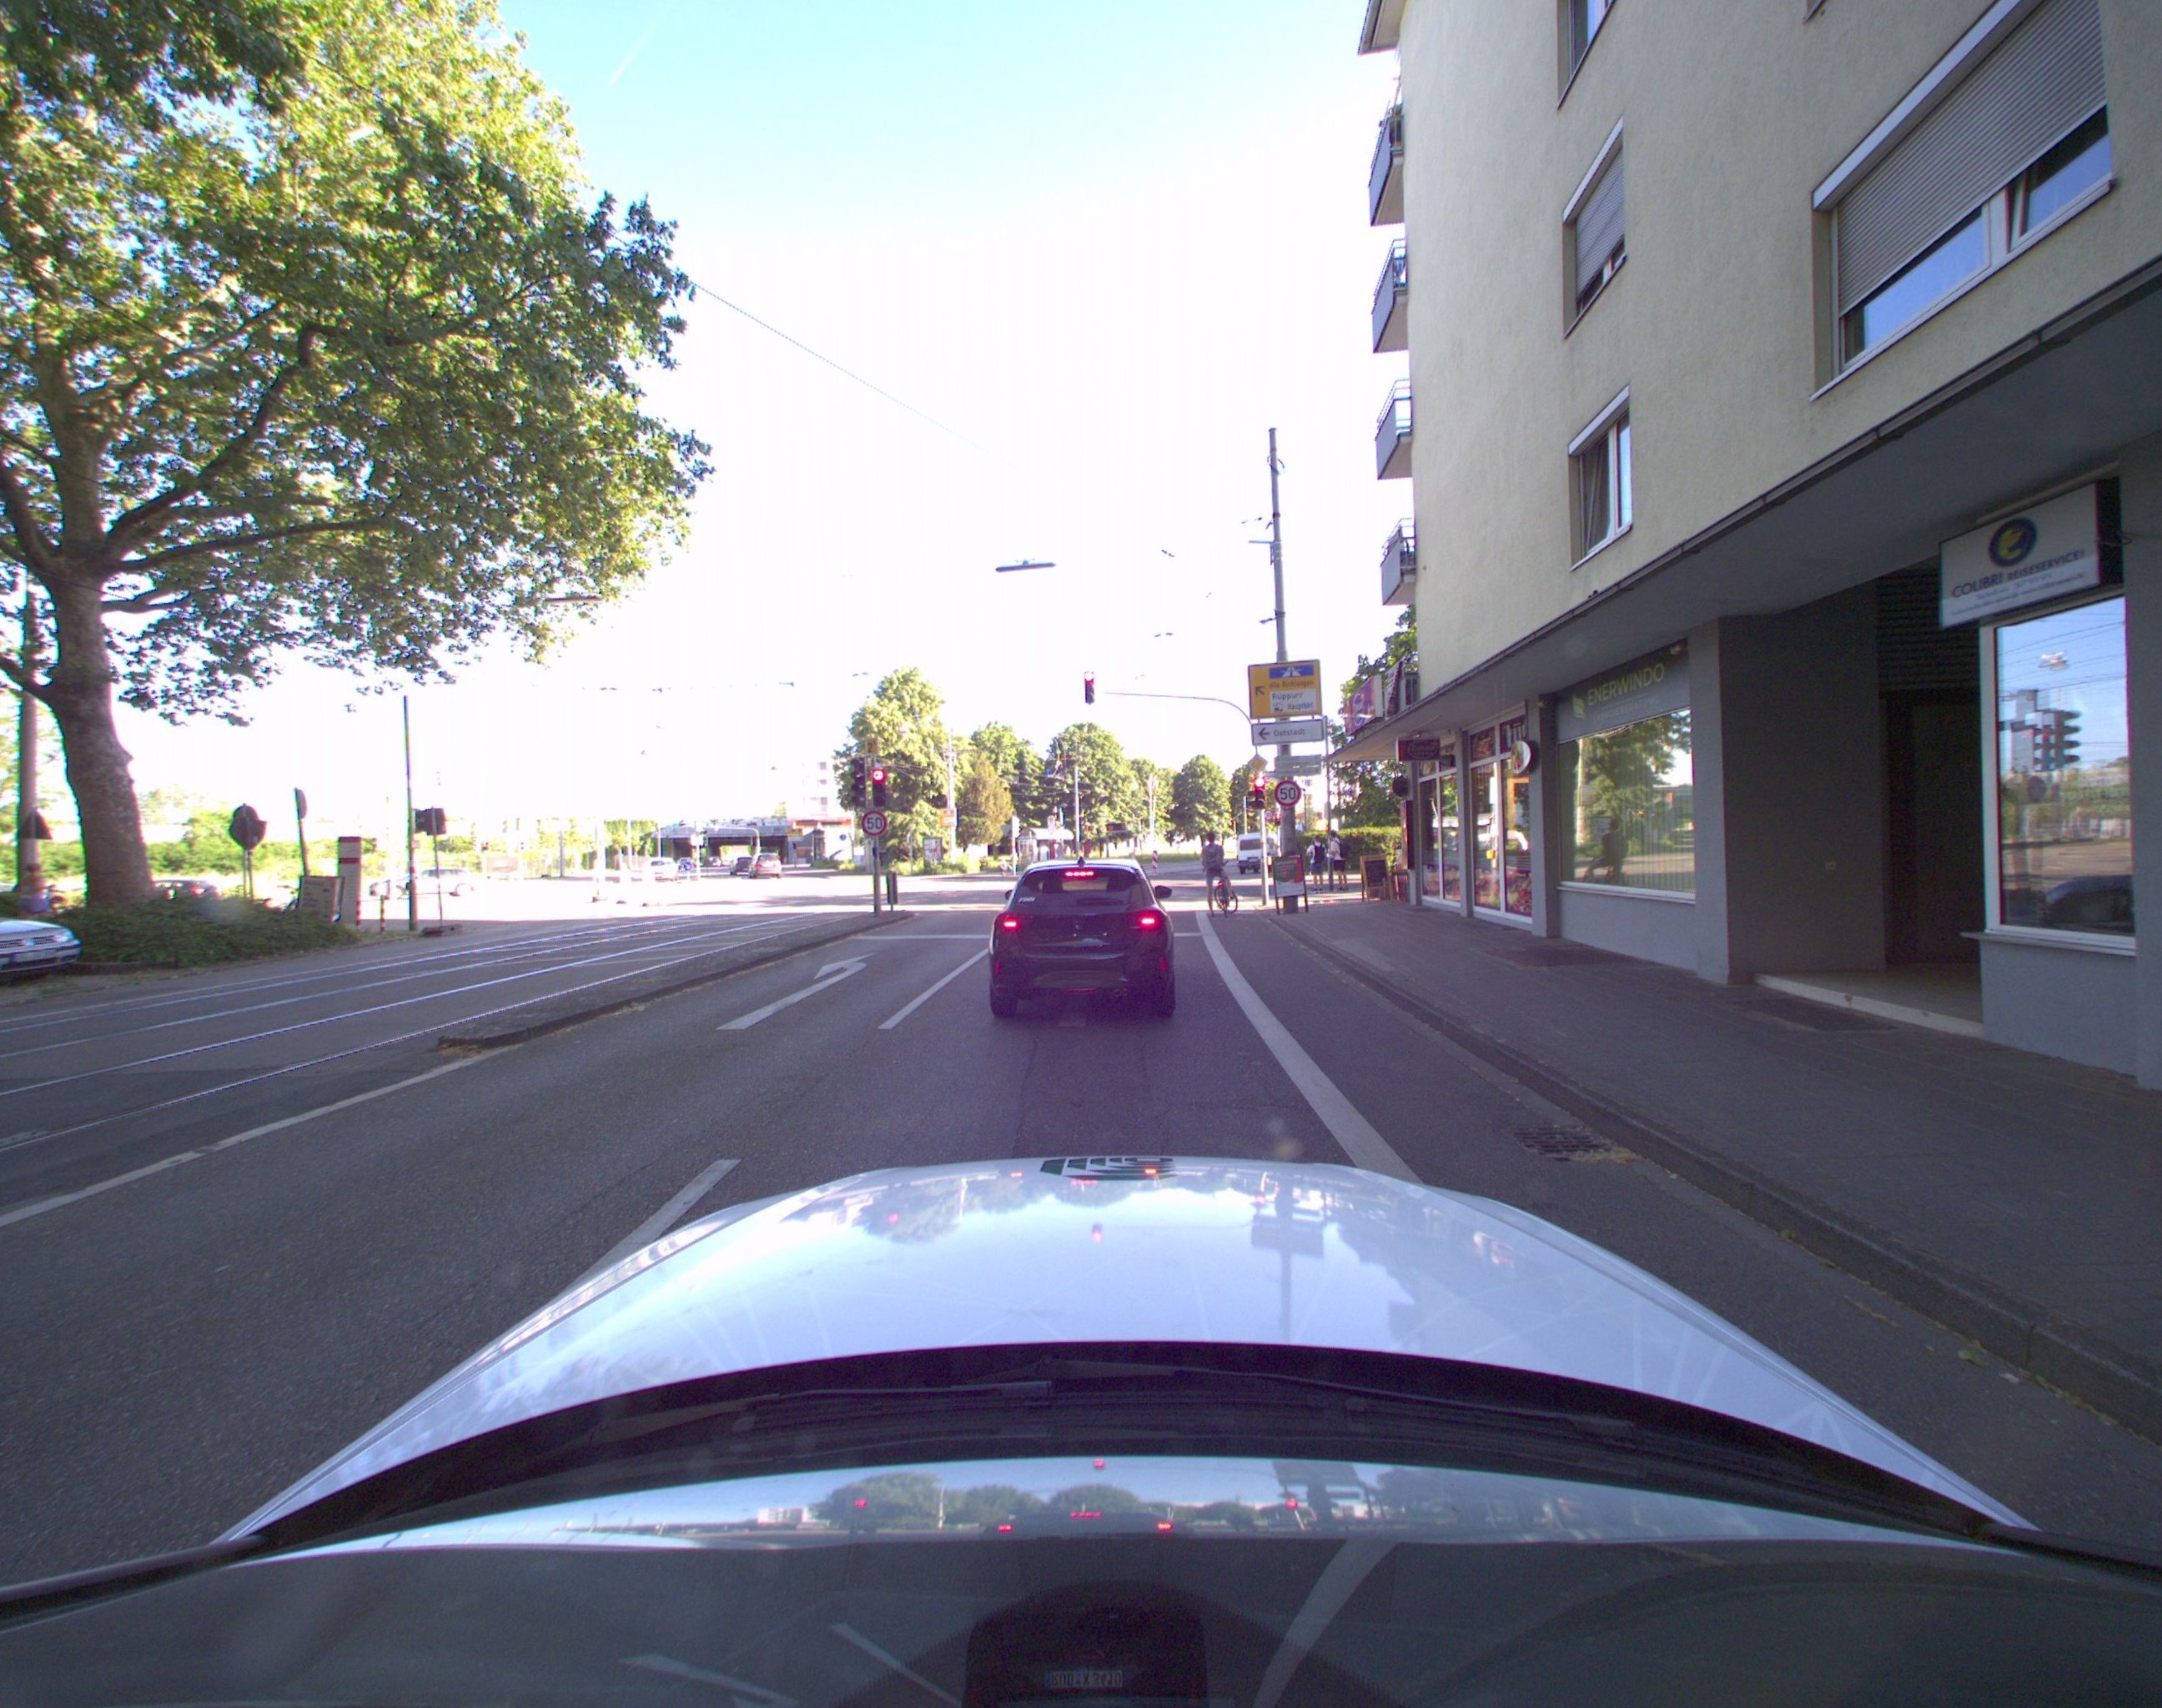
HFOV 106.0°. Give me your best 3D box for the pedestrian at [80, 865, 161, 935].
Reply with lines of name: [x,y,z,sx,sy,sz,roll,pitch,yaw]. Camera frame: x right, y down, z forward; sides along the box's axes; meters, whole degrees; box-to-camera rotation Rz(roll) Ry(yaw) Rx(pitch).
pedestrian: [-23.317,1.103,19.797,0.842,1.647,0.931,0,-1,1]

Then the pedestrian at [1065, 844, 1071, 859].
pedestrian: [-1.561,-0.267,100.062,0.736,1.872,0.661,0,-1,-4]

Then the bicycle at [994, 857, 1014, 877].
bicycle: [-4.396,0.747,46.599,0.793,1.064,2.186,-2,0,2]

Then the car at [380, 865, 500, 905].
car: [-32.164,1.517,40.964,1.963,1.764,4.388,-2,0,39]

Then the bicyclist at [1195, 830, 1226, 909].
bicyclist: [2.836,0.330,17.831,0.529,1.692,0.571,-2,0,19]

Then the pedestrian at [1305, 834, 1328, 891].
pedestrian: [7.360,0.273,25.472,0.627,1.763,0.585,-1,-1,22]

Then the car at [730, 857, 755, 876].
car: [-29.006,1.067,69.728,1.807,1.519,4.170,0,-1,-26]

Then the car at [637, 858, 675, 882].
car: [-29.262,1.063,56.199,1.892,1.585,3.809,0,-1,-21]

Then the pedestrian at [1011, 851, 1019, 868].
pedestrian: [-5.716,0.495,70.645,0.567,1.472,0.667,-2,0,6]

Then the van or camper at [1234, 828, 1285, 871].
van or camper: [10.172,-0.222,46.151,2.011,2.310,4.565,-1,-1,23]

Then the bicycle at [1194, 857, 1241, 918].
bicycle: [3.046,0.714,18.014,0.747,1.235,2.024,-2,0,16]

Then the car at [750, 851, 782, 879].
car: [-22.775,0.746,58.727,1.917,1.881,4.808,-2,0,-24]

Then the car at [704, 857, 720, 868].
car: [-51.603,1.170,113.966,1.892,1.585,3.809,0,-1,-21]

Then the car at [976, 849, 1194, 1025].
car: [0.097,0.701,8.930,1.833,1.462,3.985,-1,0,2]

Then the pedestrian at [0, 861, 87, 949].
pedestrian: [-20.417,0.977,15.941,0.772,1.661,0.952,0,-1,-11]

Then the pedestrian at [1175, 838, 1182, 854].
pedestrian: [11.351,-0.944,94.597,0.513,1.872,0.609,-1,-1,45]

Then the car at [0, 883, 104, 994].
car: [-16.625,1.192,11.343,3.957,1.453,1.670,-1,0,-1]

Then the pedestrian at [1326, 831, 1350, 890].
pedestrian: [8.045,0.197,25.460,0.627,1.820,0.749,-1,-1,22]
